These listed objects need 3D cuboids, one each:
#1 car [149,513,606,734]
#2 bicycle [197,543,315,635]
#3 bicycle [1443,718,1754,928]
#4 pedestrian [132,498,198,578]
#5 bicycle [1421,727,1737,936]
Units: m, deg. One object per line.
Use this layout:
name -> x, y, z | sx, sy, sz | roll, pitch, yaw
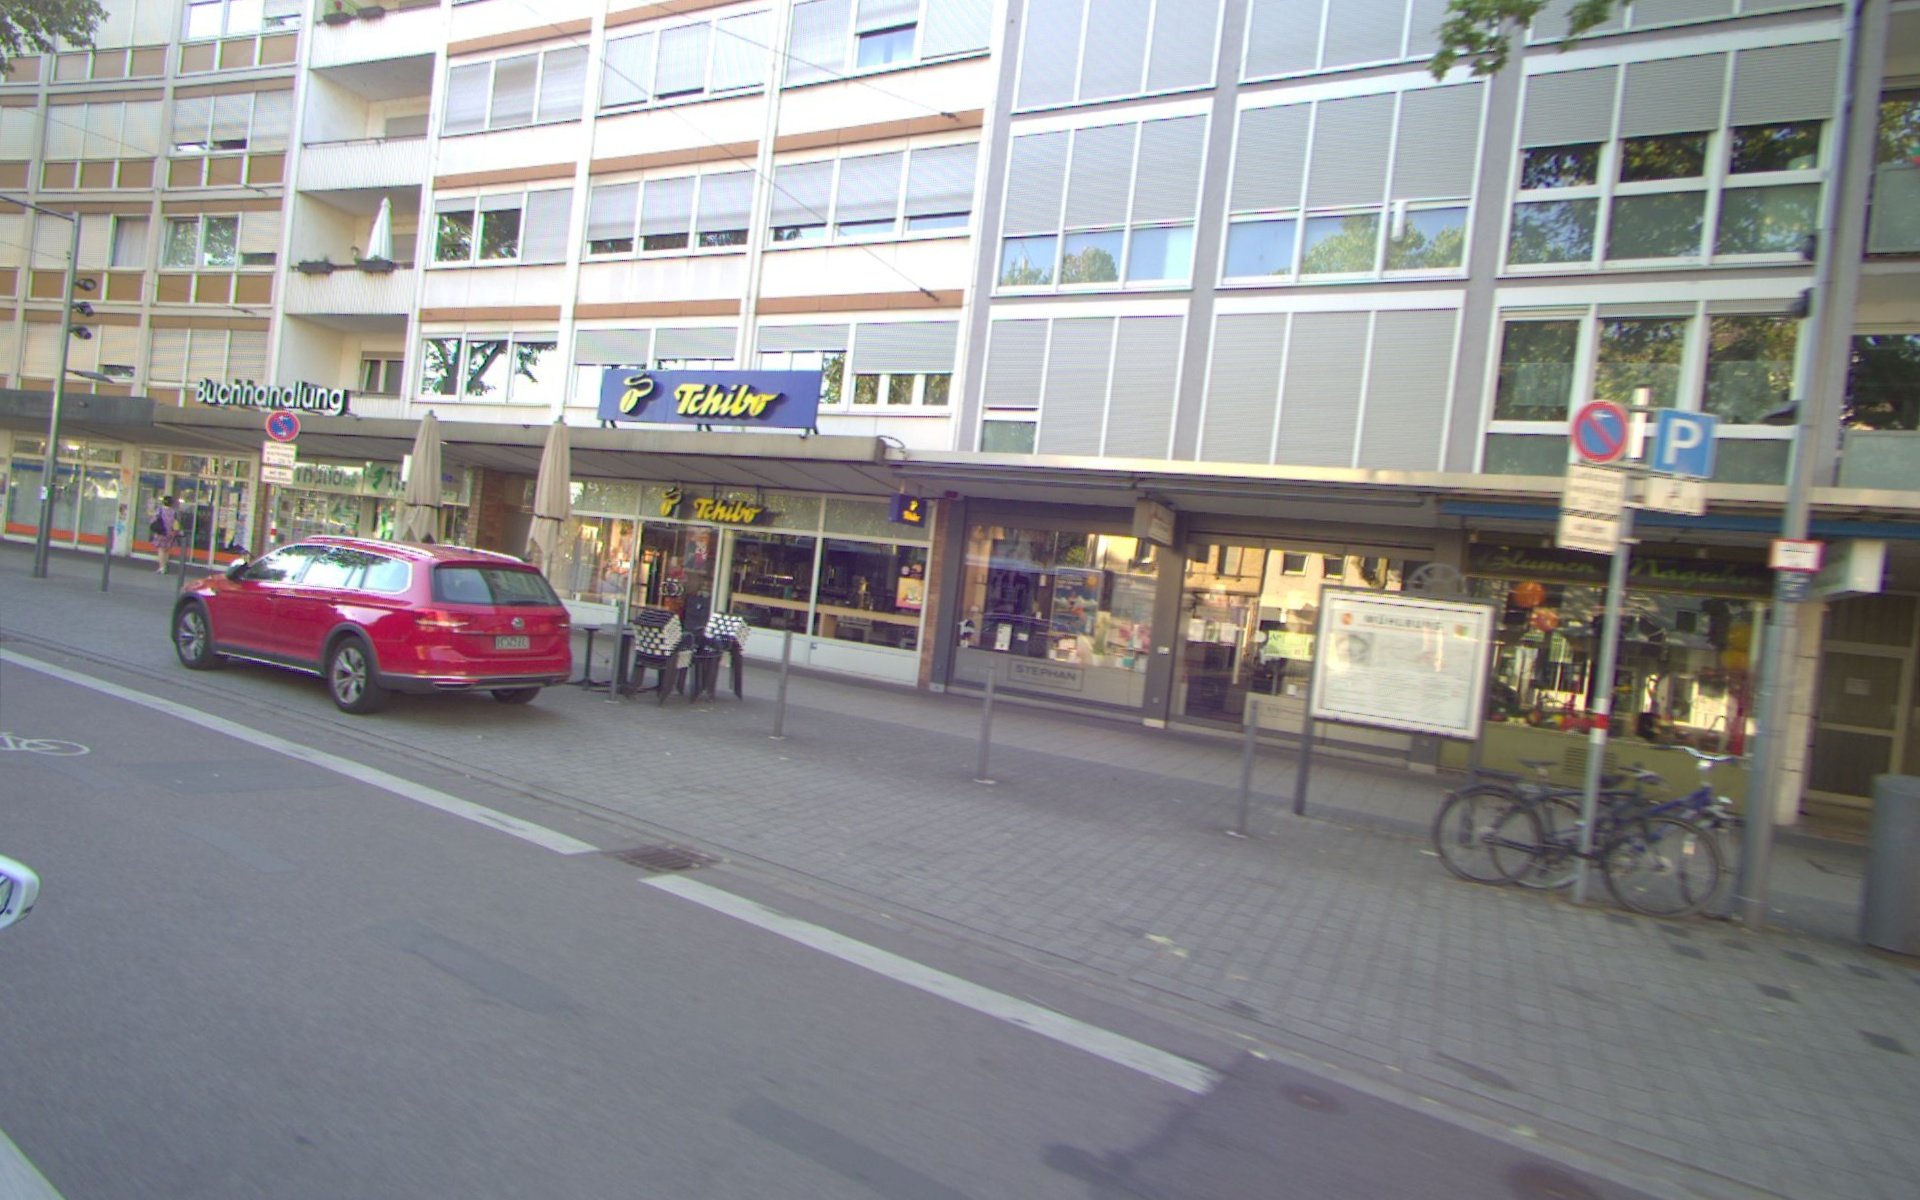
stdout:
car -> -5.847, 0.128, 9.976 | 4.488, 1.516, 1.780 | 7, 2, 28
bicycle -> -9.838, -0.160, 14.057 | 1.631, 1.085, 0.512 | 7, 3, 23
bicycle -> 4.385, 1.516, 7.015 | 1.686, 1.116, 0.294 | 7, 4, 18
pedestrian -> -16.834, -1.305, 21.311 | 0.792, 1.571, 0.641 | 7, 1, 18
bicycle -> 4.119, 1.529, 6.803 | 1.686, 1.055, 0.294 | 7, 4, 18
